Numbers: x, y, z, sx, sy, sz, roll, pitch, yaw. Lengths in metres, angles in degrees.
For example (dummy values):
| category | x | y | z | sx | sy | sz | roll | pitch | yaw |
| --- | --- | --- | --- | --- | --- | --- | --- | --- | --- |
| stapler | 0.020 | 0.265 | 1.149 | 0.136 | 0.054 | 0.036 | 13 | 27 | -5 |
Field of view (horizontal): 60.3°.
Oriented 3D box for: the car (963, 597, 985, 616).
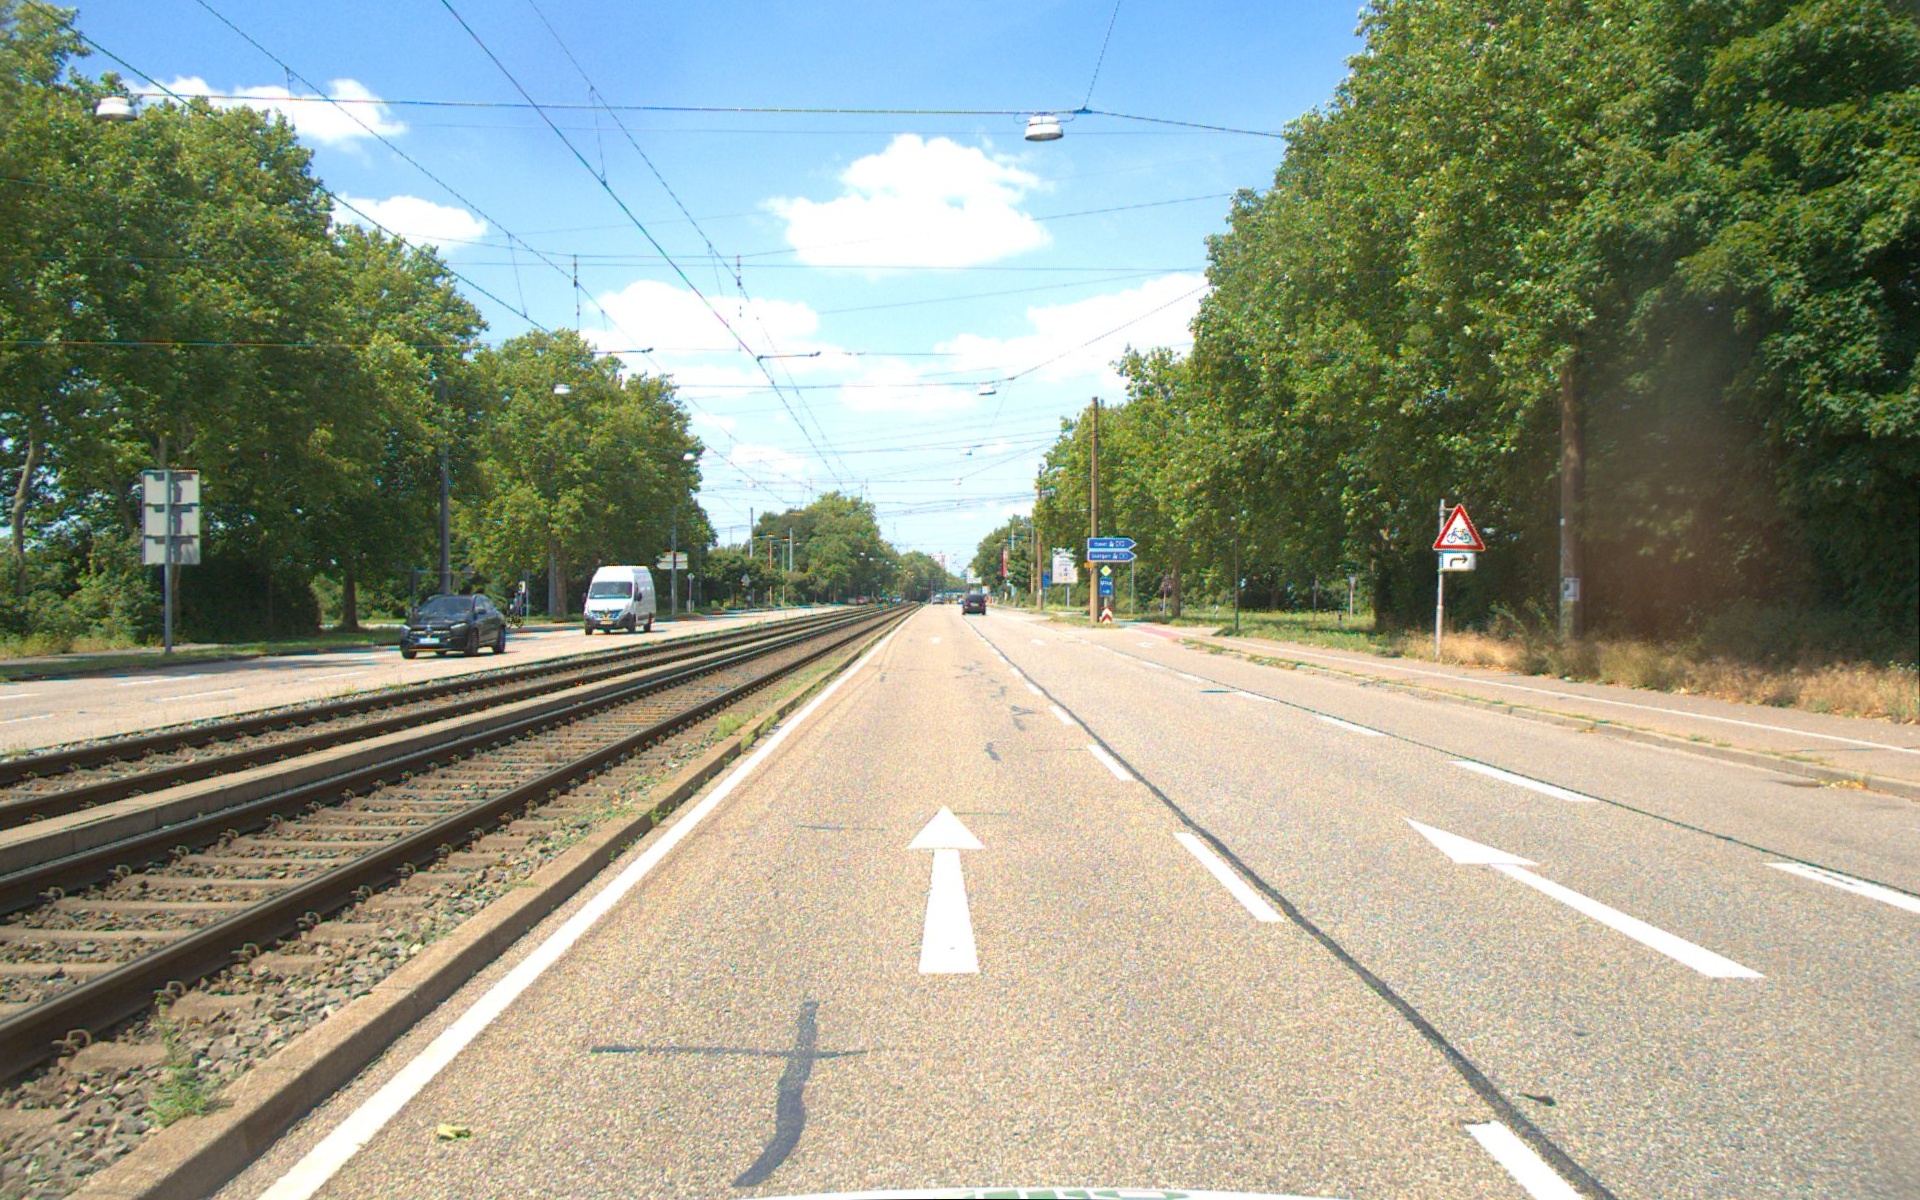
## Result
| category | x | y | z | sx | sy | sz | roll | pitch | yaw |
| --- | --- | --- | --- | --- | --- | --- | --- | --- | --- |
| car | 1.040 | 0.449 | 125.744 | 1.554 | 1.366 | 3.271 | 0 | 1 | -2 |

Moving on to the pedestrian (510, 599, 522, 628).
| category | x | y | z | sx | sy | sz | roll | pitch | yaw |
| --- | --- | --- | --- | --- | --- | --- | --- | --- | --- |
| pedestrian | -24.121 | 0.739 | 89.937 | 0.503 | 1.578 | 0.703 | -1 | 0 | -6 |

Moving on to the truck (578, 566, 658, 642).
| category | x | y | z | sx | sy | sz | roll | pitch | yaw |
| --- | --- | --- | --- | --- | --- | --- | --- | --- | --- |
| truck | -14.150 | 0.150 | 68.730 | 2.012 | 2.990 | 6.318 | -1 | 0 | -1 |

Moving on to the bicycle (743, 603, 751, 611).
| category | x | y | z | sx | sy | sz | roll | pitch | yaw |
| --- | --- | --- | --- | --- | --- | --- | --- | --- | --- |
| bicycle | -21.806 | 0.716 | 169.321 | 0.505 | 0.872 | 1.932 | -1 | 0 | 2 |

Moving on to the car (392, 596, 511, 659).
| category | x | y | z | sx | sy | sz | roll | pitch | yaw |
| --- | --- | --- | --- | --- | --- | --- | --- | --- | --- |
| car | -13.281 | 0.687 | 43.487 | 1.781 | 1.541 | 4.427 | -1 | 0 | -1 |
